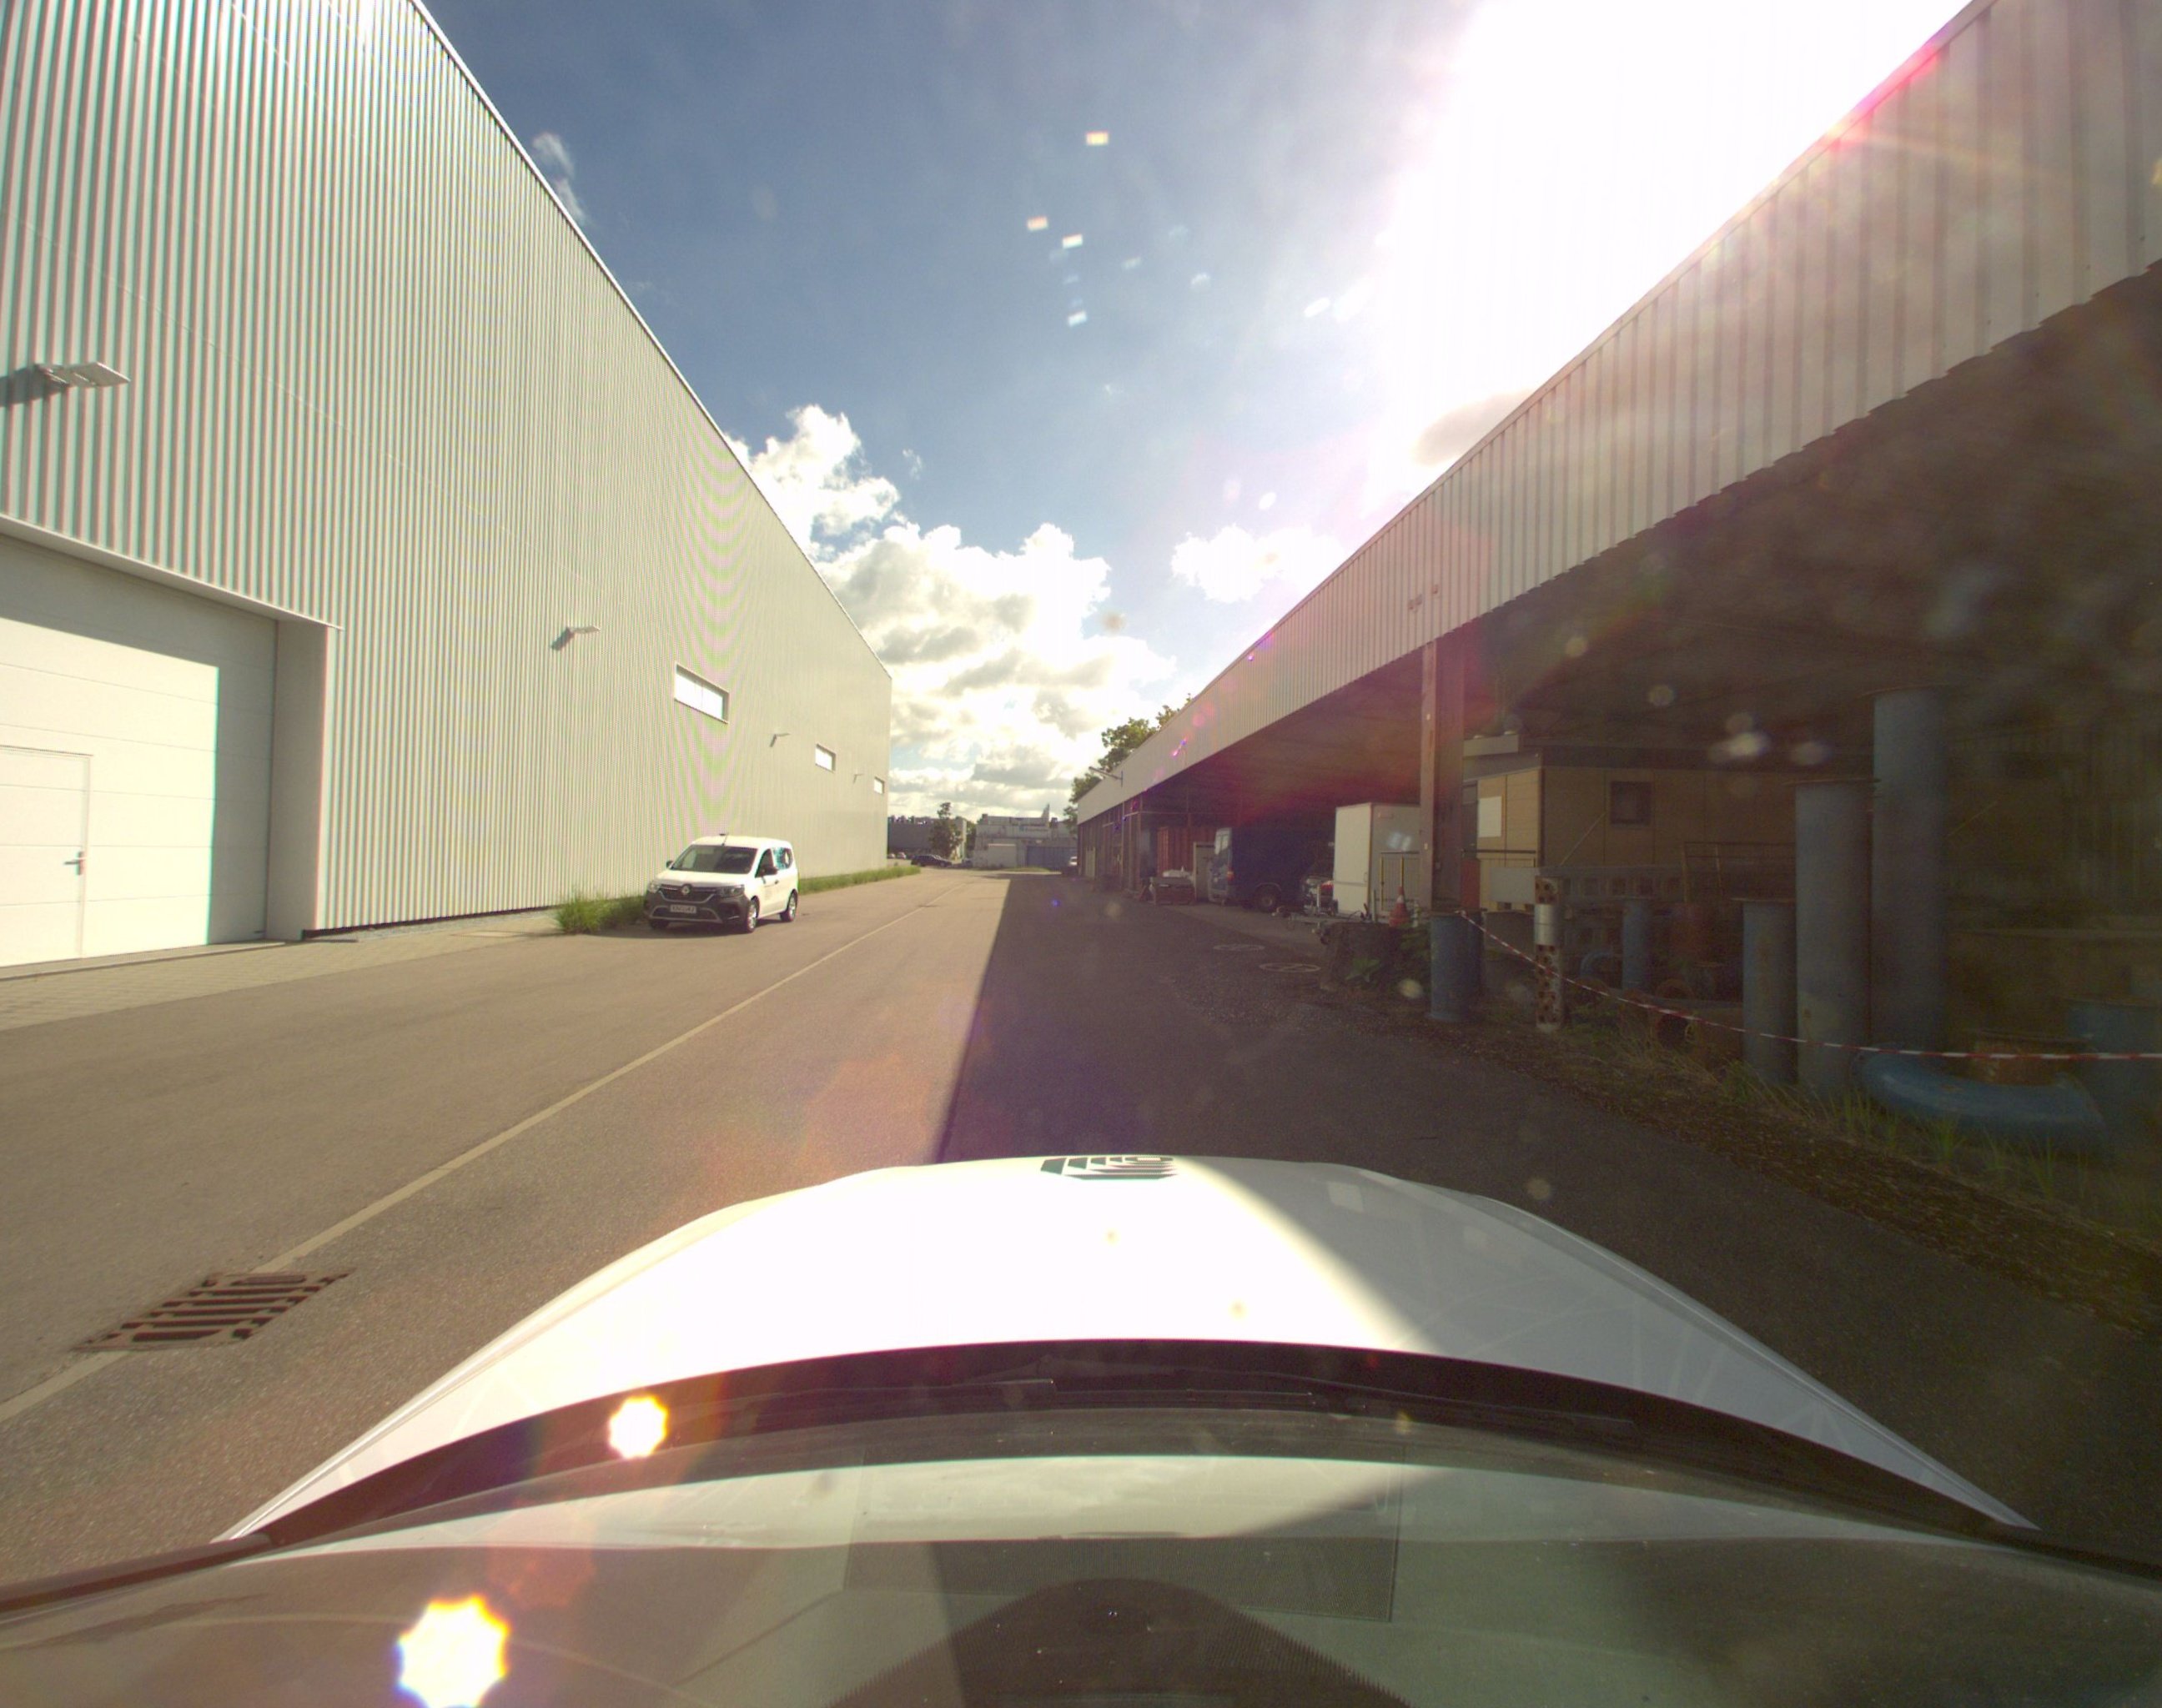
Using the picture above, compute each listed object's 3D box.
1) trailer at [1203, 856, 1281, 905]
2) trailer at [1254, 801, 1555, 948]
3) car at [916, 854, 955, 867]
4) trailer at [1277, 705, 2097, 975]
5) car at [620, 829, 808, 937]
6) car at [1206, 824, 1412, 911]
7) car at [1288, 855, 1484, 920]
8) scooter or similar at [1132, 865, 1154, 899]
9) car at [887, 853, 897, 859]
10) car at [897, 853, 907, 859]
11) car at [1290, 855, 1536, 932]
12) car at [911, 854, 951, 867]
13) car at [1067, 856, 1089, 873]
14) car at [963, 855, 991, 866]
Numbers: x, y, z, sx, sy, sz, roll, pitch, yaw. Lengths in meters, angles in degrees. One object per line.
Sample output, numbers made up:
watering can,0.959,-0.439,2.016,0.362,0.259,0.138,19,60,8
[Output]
trailer,4.991,0.811,25.393,2.089,1.462,1.640,1,-1,-2
trailer,5.421,0.310,13.948,4.533,2.335,1.686,0,0,-5
car,-18.039,0.818,101.023,4.522,1.443,1.900,1,-2,-5
trailer,8.247,-0.207,11.698,10.274,3.295,2.671,0,0,-5
car,-7.110,0.514,16.401,1.925,1.790,4.590,3,0,-5
car,6.319,0.388,22.916,5.209,2.297,2.080,1,-1,-6
car,7.329,0.771,19.802,4.101,1.454,1.847,0,-1,-6
scooter or similar,2.145,0.969,28.298,0.519,1.134,1.589,1,-1,-5
car,-44.693,0.460,192.223,1.876,1.537,4.025,0,-1,-7
car,-42.398,0.447,192.672,1.876,1.537,4.025,0,-1,-7
car,6.700,0.761,16.674,4.342,1.433,1.859,0,-1,-9
car,-18.005,0.803,97.758,4.522,1.443,1.983,1,-2,-5
car,-0.377,1.078,86.861,1.978,1.593,4.333,2,1,-5
car,-16.024,0.951,125.783,4.272,1.569,1.983,1,-2,-5
